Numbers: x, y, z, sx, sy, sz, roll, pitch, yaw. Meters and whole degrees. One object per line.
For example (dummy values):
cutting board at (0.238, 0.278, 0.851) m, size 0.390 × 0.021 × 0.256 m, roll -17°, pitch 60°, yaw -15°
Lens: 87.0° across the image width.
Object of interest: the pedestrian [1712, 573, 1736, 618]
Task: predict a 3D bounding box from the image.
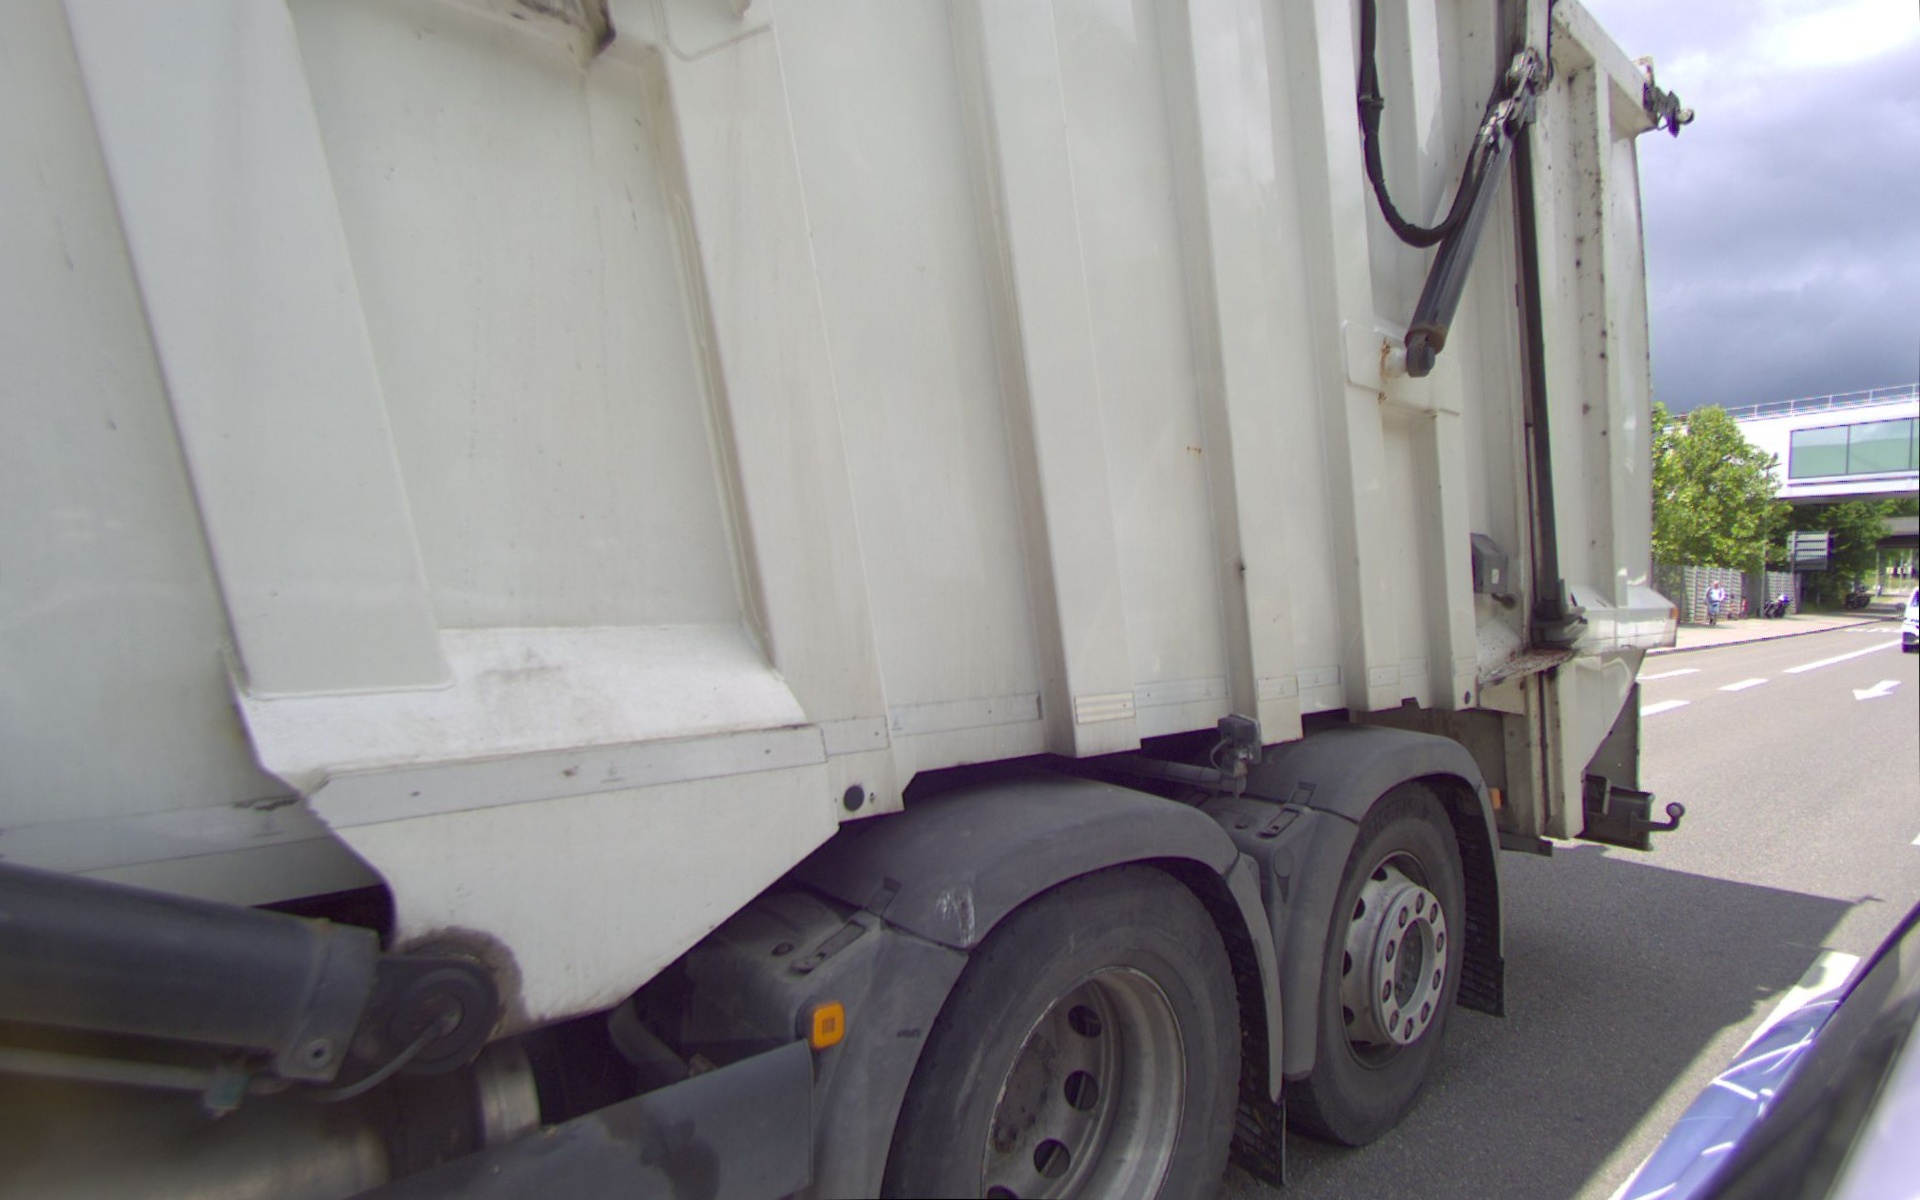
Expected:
pedestrian at (33.260, -0.190, 44.074) m, size 0.648 × 1.936 × 0.737 m, roll 0°, pitch 0°, yaw -45°

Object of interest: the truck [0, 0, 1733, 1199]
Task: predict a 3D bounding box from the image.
truck at (-0.844, -0.508, 2.436) m, size 9.999 × 3.962 × 2.492 m, roll -1°, pitch 0°, yaw -42°

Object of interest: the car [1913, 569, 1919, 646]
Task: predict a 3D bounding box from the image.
car at (28.925, 0.228, 28.926) m, size 4.573 × 2.121 × 1.925 m, roll 0°, pitch 0°, yaw -40°
